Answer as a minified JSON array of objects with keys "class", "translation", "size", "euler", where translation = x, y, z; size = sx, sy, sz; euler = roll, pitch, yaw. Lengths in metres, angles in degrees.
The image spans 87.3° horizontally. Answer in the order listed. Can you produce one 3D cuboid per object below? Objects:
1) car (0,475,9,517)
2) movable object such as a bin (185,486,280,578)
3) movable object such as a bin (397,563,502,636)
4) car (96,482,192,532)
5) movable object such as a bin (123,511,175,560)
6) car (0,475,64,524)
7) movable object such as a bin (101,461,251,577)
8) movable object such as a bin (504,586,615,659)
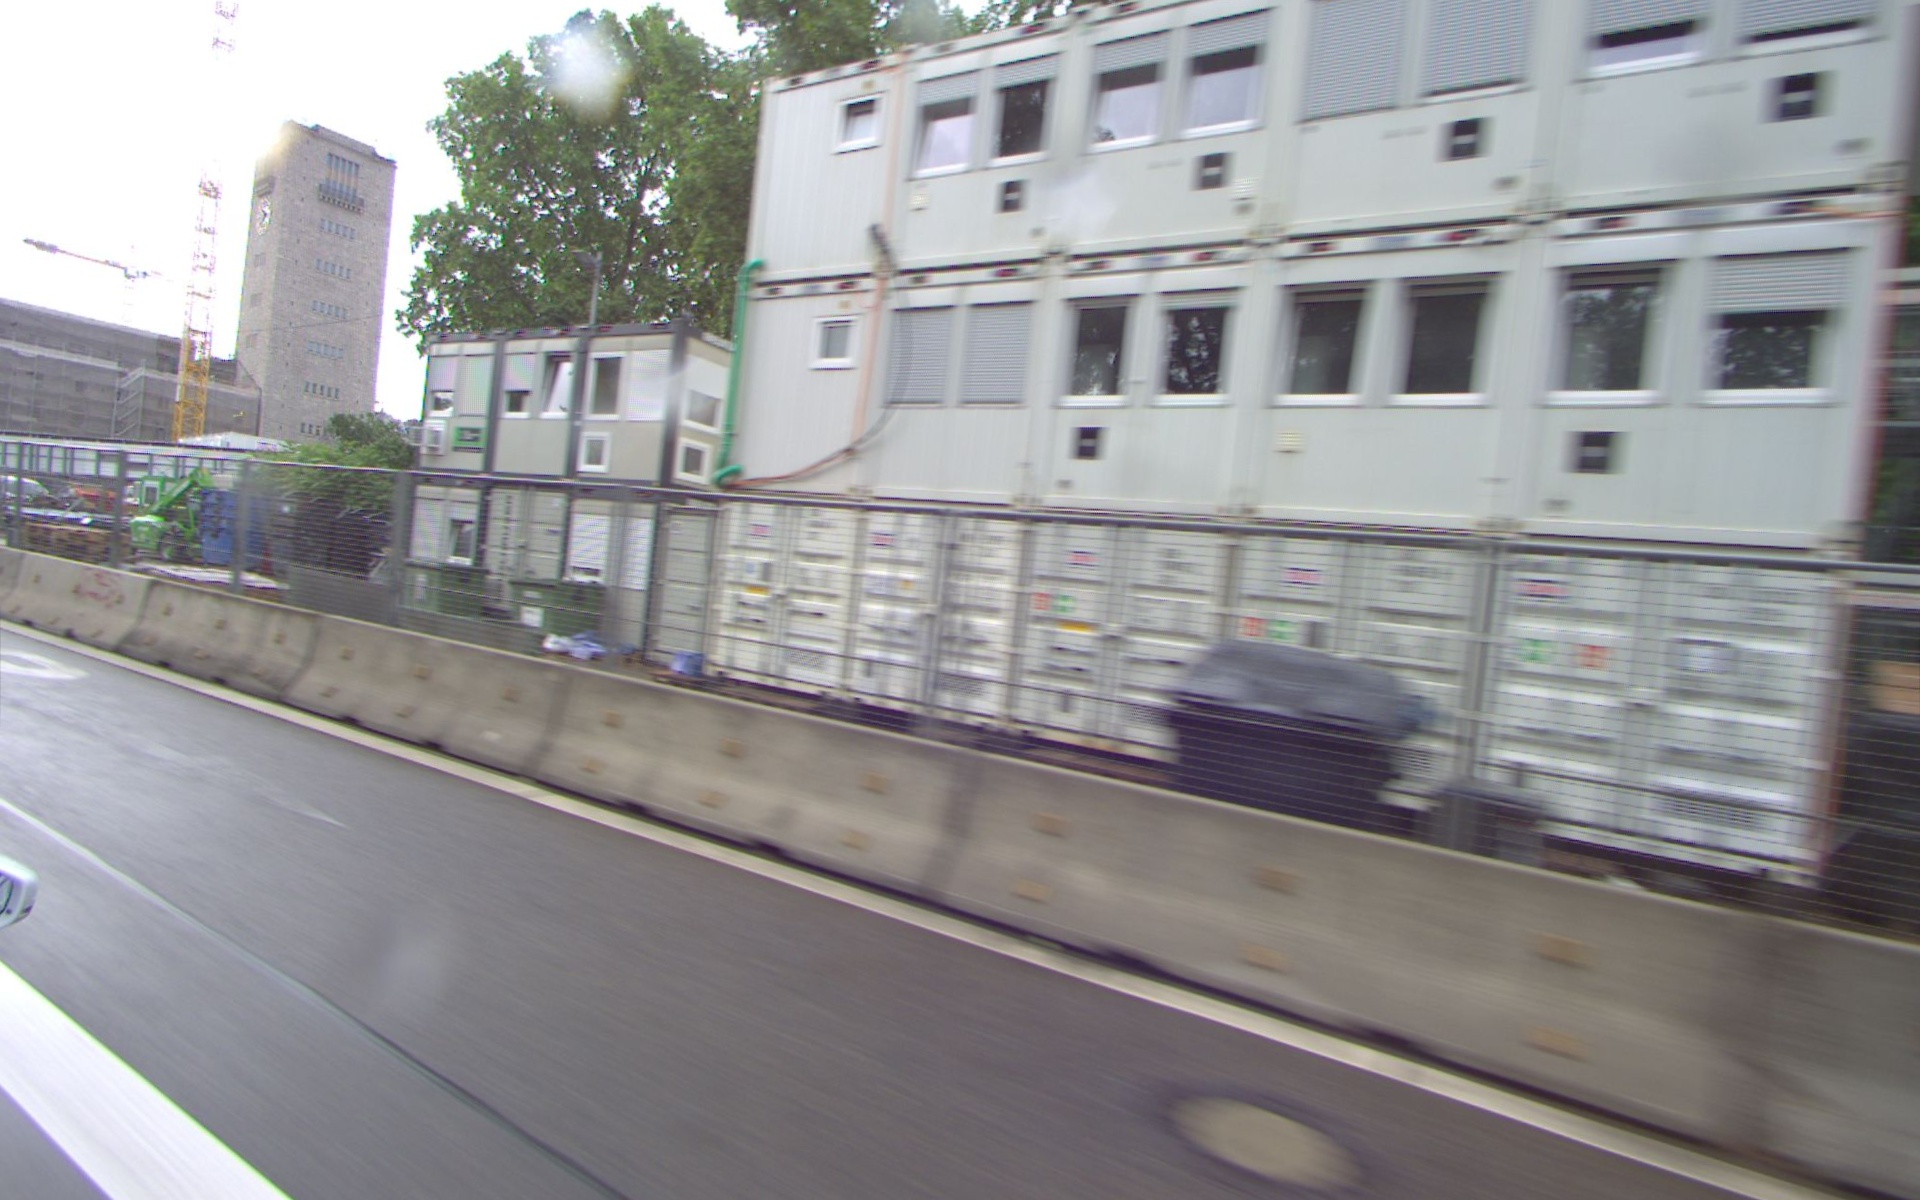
[{"class":"car","translation":[-49.273,-5.352,49.464],"size":[5.072,2.000,1.916],"euler":[7,0,27]},{"class":"movable object such as a bin","translation":[-19.832,-1.825,27.479],"size":[1.241,2.231,1.461],"euler":[8,1,8]},{"class":"movable object such as a bin","translation":[-9.491,0.004,18.710],"size":[1.219,1.253,1.247],"euler":[4,1,31]},{"class":"car","translation":[-47.291,-5.400,58.310],"size":[5.505,2.344,2.048],"euler":[6,2,25]},{"class":"movable object such as a bin","translation":[-26.107,-2.082,32.390],"size":[1.171,1.361,1.251],"euler":[7,1,-39]},{"class":"car","translation":[-44.011,-4.796,46.891],"size":[5.001,1.829,1.848],"euler":[8,1,31]},{"class":"movable object such as a bin","translation":[-23.023,-2.388,29.533],"size":[3.798,2.845,1.810],"euler":[8,1,27]},{"class":"movable object such as a bin","translation":[-6.837,0.379,17.193],"size":[1.219,1.137,1.247],"euler":[4,1,31]}]
